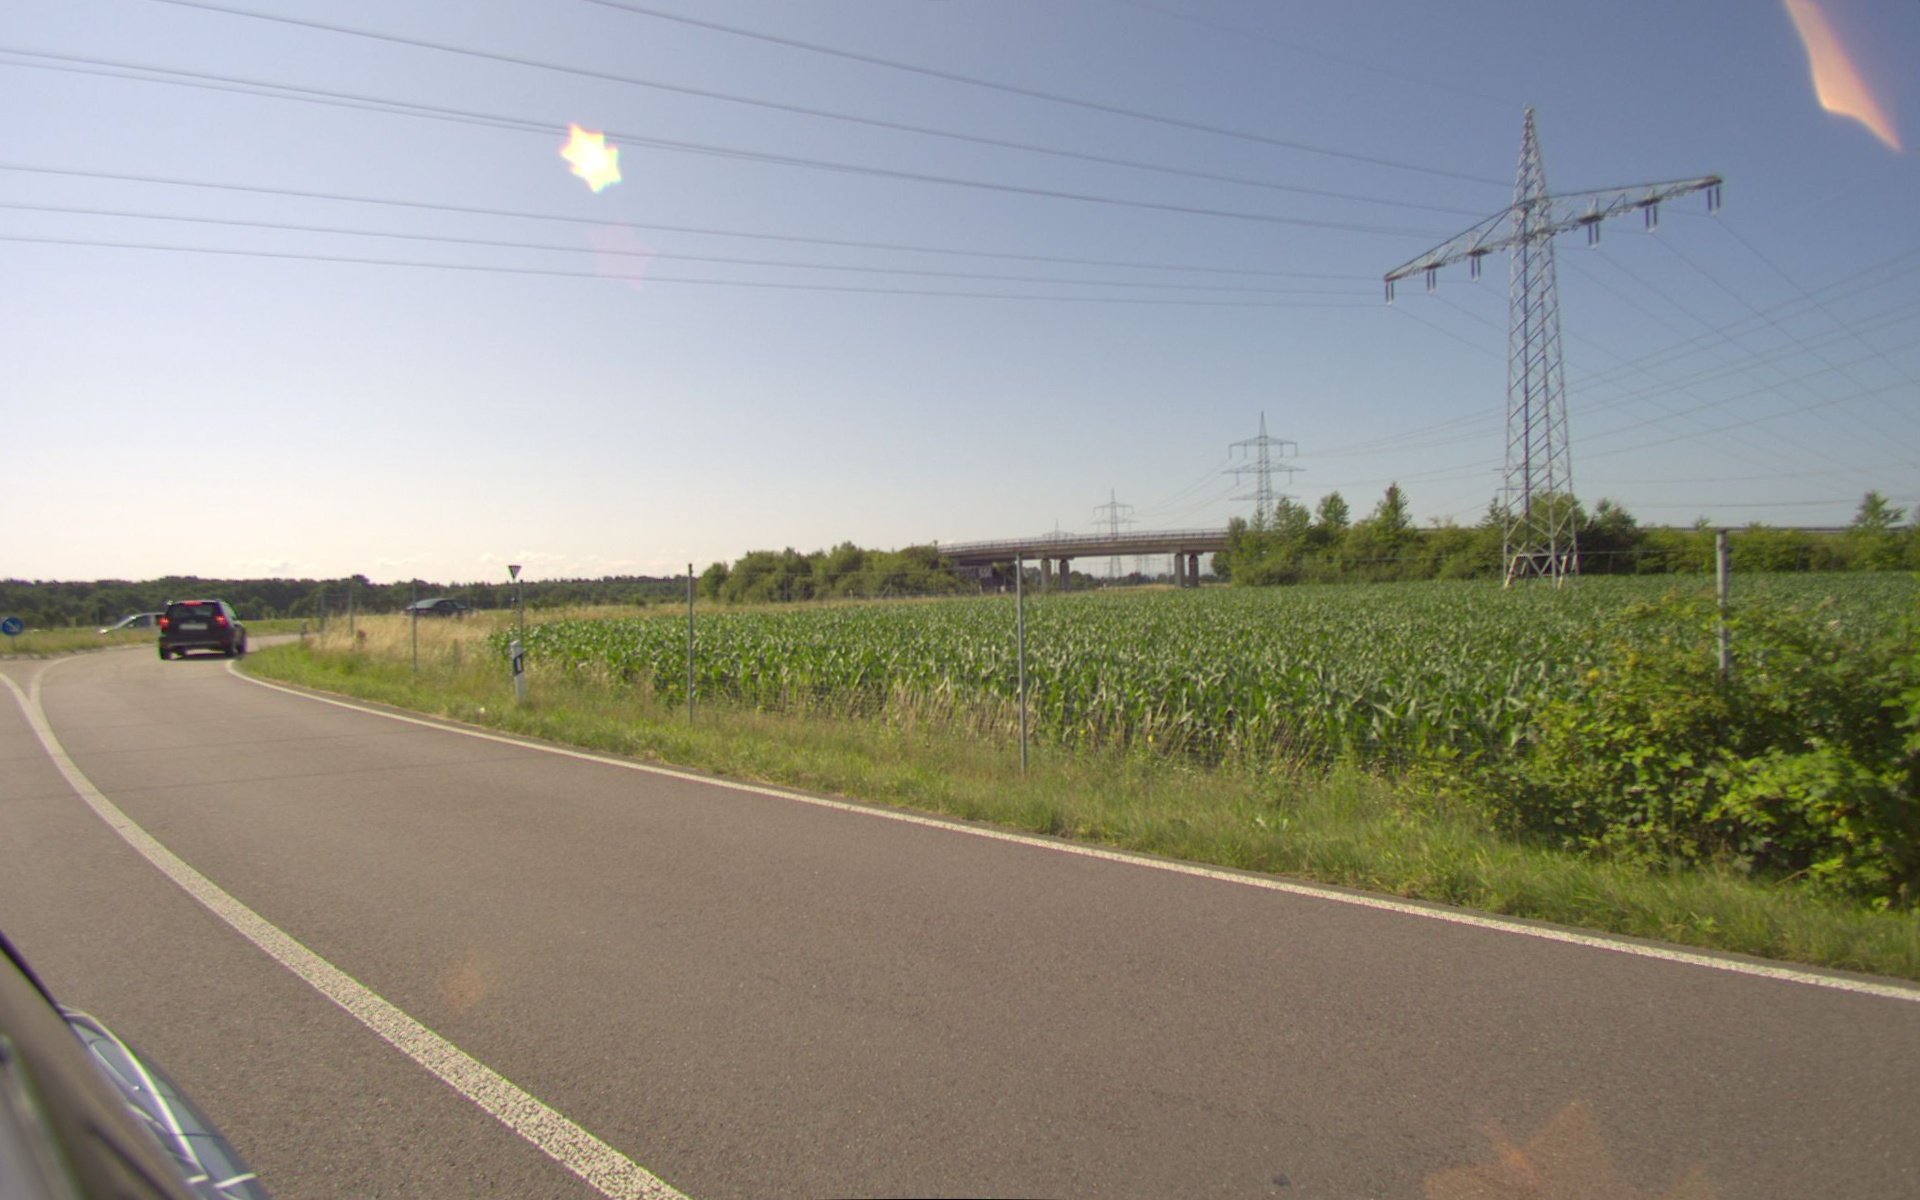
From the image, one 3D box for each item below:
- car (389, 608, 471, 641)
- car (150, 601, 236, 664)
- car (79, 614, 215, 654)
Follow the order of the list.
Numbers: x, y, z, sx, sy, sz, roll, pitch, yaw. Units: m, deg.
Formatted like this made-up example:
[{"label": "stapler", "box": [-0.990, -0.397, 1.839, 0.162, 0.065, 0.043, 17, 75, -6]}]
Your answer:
[{"label": "car", "box": [-26.099, 1.150, 50.029, 1.755, 1.467, 4.594, -1, 0, -2]}, {"label": "car", "box": [-23.070, 0.906, 30.446, 1.958, 1.719, 4.270, 0, 0, -38]}, {"label": "car", "box": [-41.910, 1.694, 52.246, 5.274, 1.652, 2.104, -4, 2, -44]}]
